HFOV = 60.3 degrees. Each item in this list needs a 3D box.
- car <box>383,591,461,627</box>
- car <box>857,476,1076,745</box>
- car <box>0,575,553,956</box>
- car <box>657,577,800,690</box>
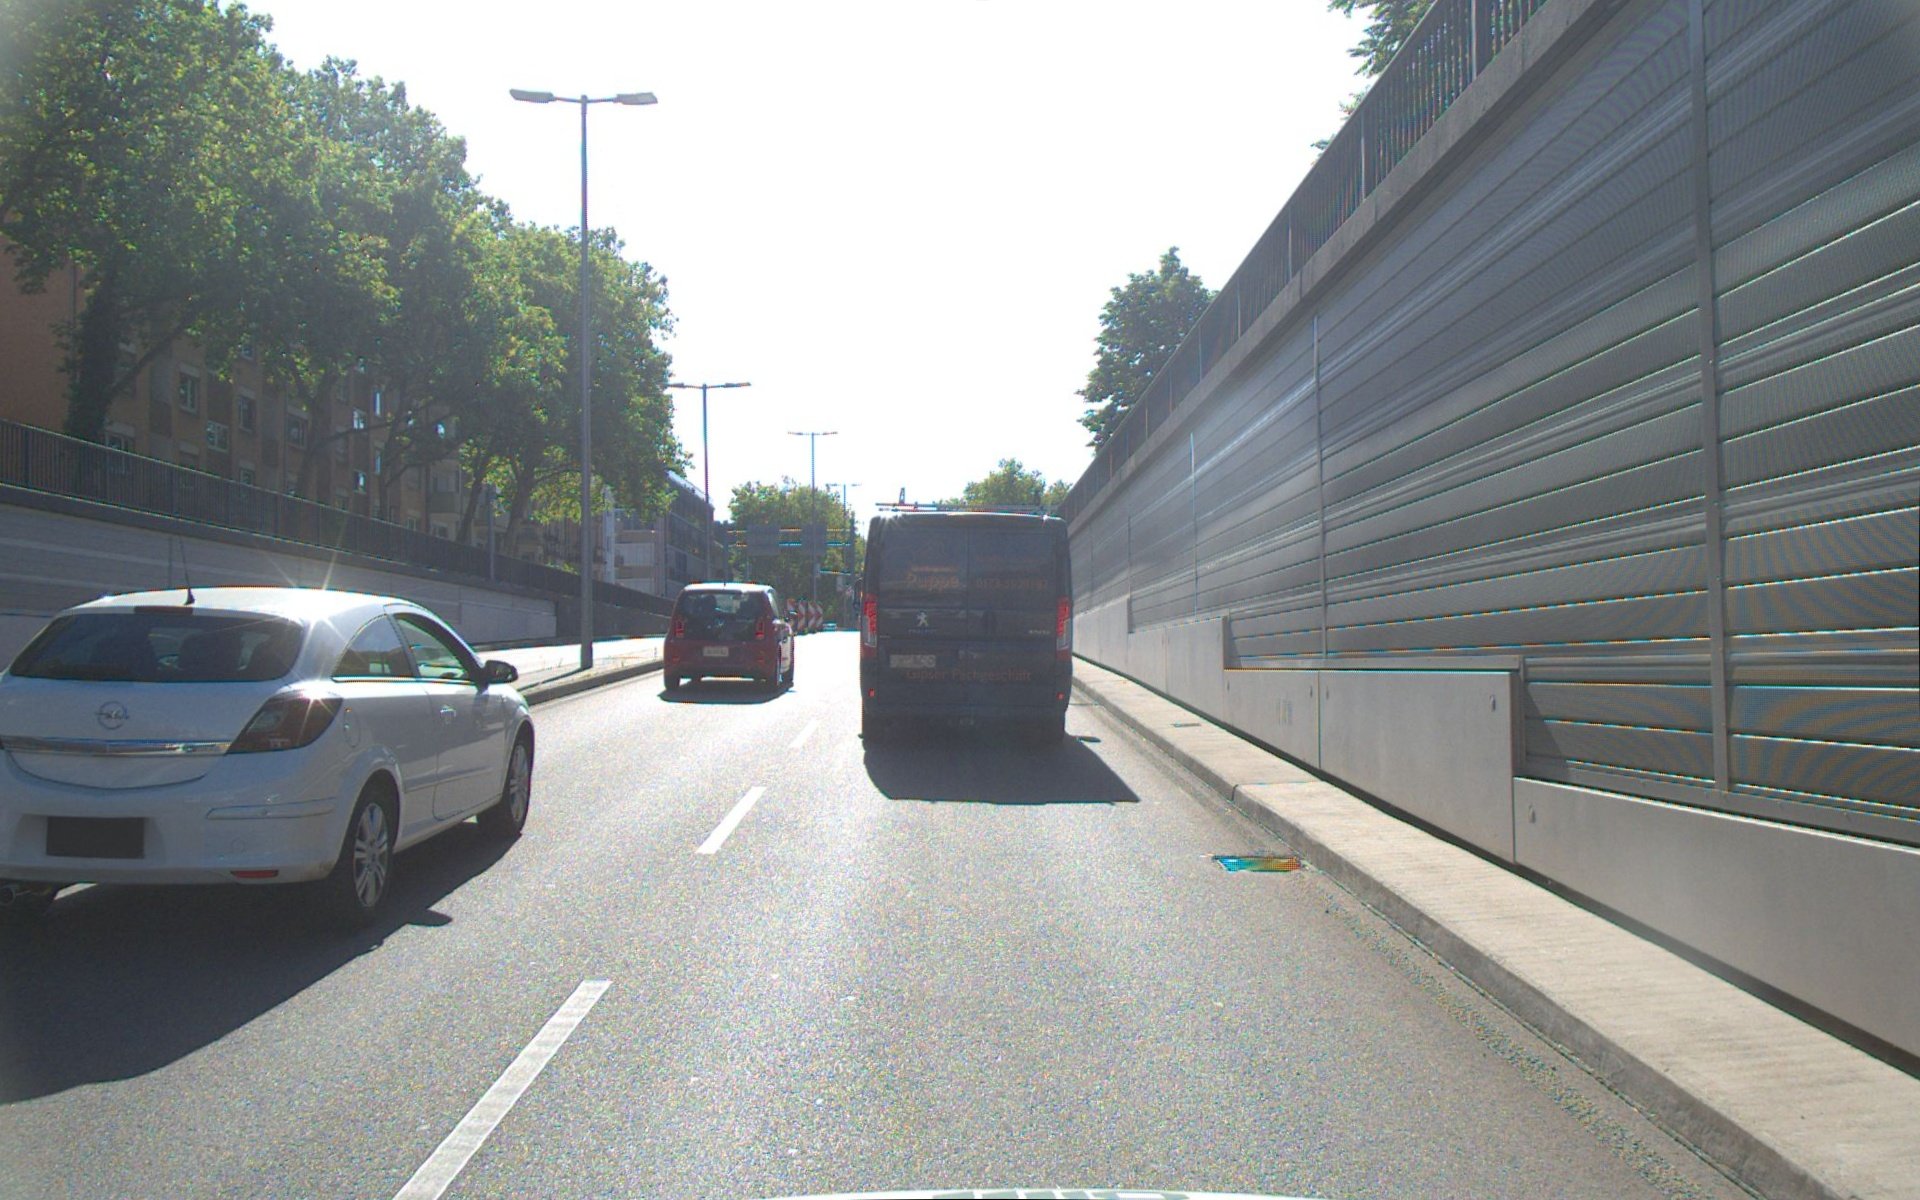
[{"bbox_3d":[-22.605,0.411,69.634,1.953,1.413,4.171,1,-2,-1],"label":"car"},{"bbox_3d":[0.031,0.108,17.038,1.989,2.444,3.972,0,-1,-1],"label":"car"},{"bbox_3d":[-3.258,0.637,8.177,1.586,1.428,3.851,1,0,-1],"label":"car"},{"bbox_3d":[-3.276,0.439,23.948,1.655,1.509,3.318,1,0,-1],"label":"car"}]
